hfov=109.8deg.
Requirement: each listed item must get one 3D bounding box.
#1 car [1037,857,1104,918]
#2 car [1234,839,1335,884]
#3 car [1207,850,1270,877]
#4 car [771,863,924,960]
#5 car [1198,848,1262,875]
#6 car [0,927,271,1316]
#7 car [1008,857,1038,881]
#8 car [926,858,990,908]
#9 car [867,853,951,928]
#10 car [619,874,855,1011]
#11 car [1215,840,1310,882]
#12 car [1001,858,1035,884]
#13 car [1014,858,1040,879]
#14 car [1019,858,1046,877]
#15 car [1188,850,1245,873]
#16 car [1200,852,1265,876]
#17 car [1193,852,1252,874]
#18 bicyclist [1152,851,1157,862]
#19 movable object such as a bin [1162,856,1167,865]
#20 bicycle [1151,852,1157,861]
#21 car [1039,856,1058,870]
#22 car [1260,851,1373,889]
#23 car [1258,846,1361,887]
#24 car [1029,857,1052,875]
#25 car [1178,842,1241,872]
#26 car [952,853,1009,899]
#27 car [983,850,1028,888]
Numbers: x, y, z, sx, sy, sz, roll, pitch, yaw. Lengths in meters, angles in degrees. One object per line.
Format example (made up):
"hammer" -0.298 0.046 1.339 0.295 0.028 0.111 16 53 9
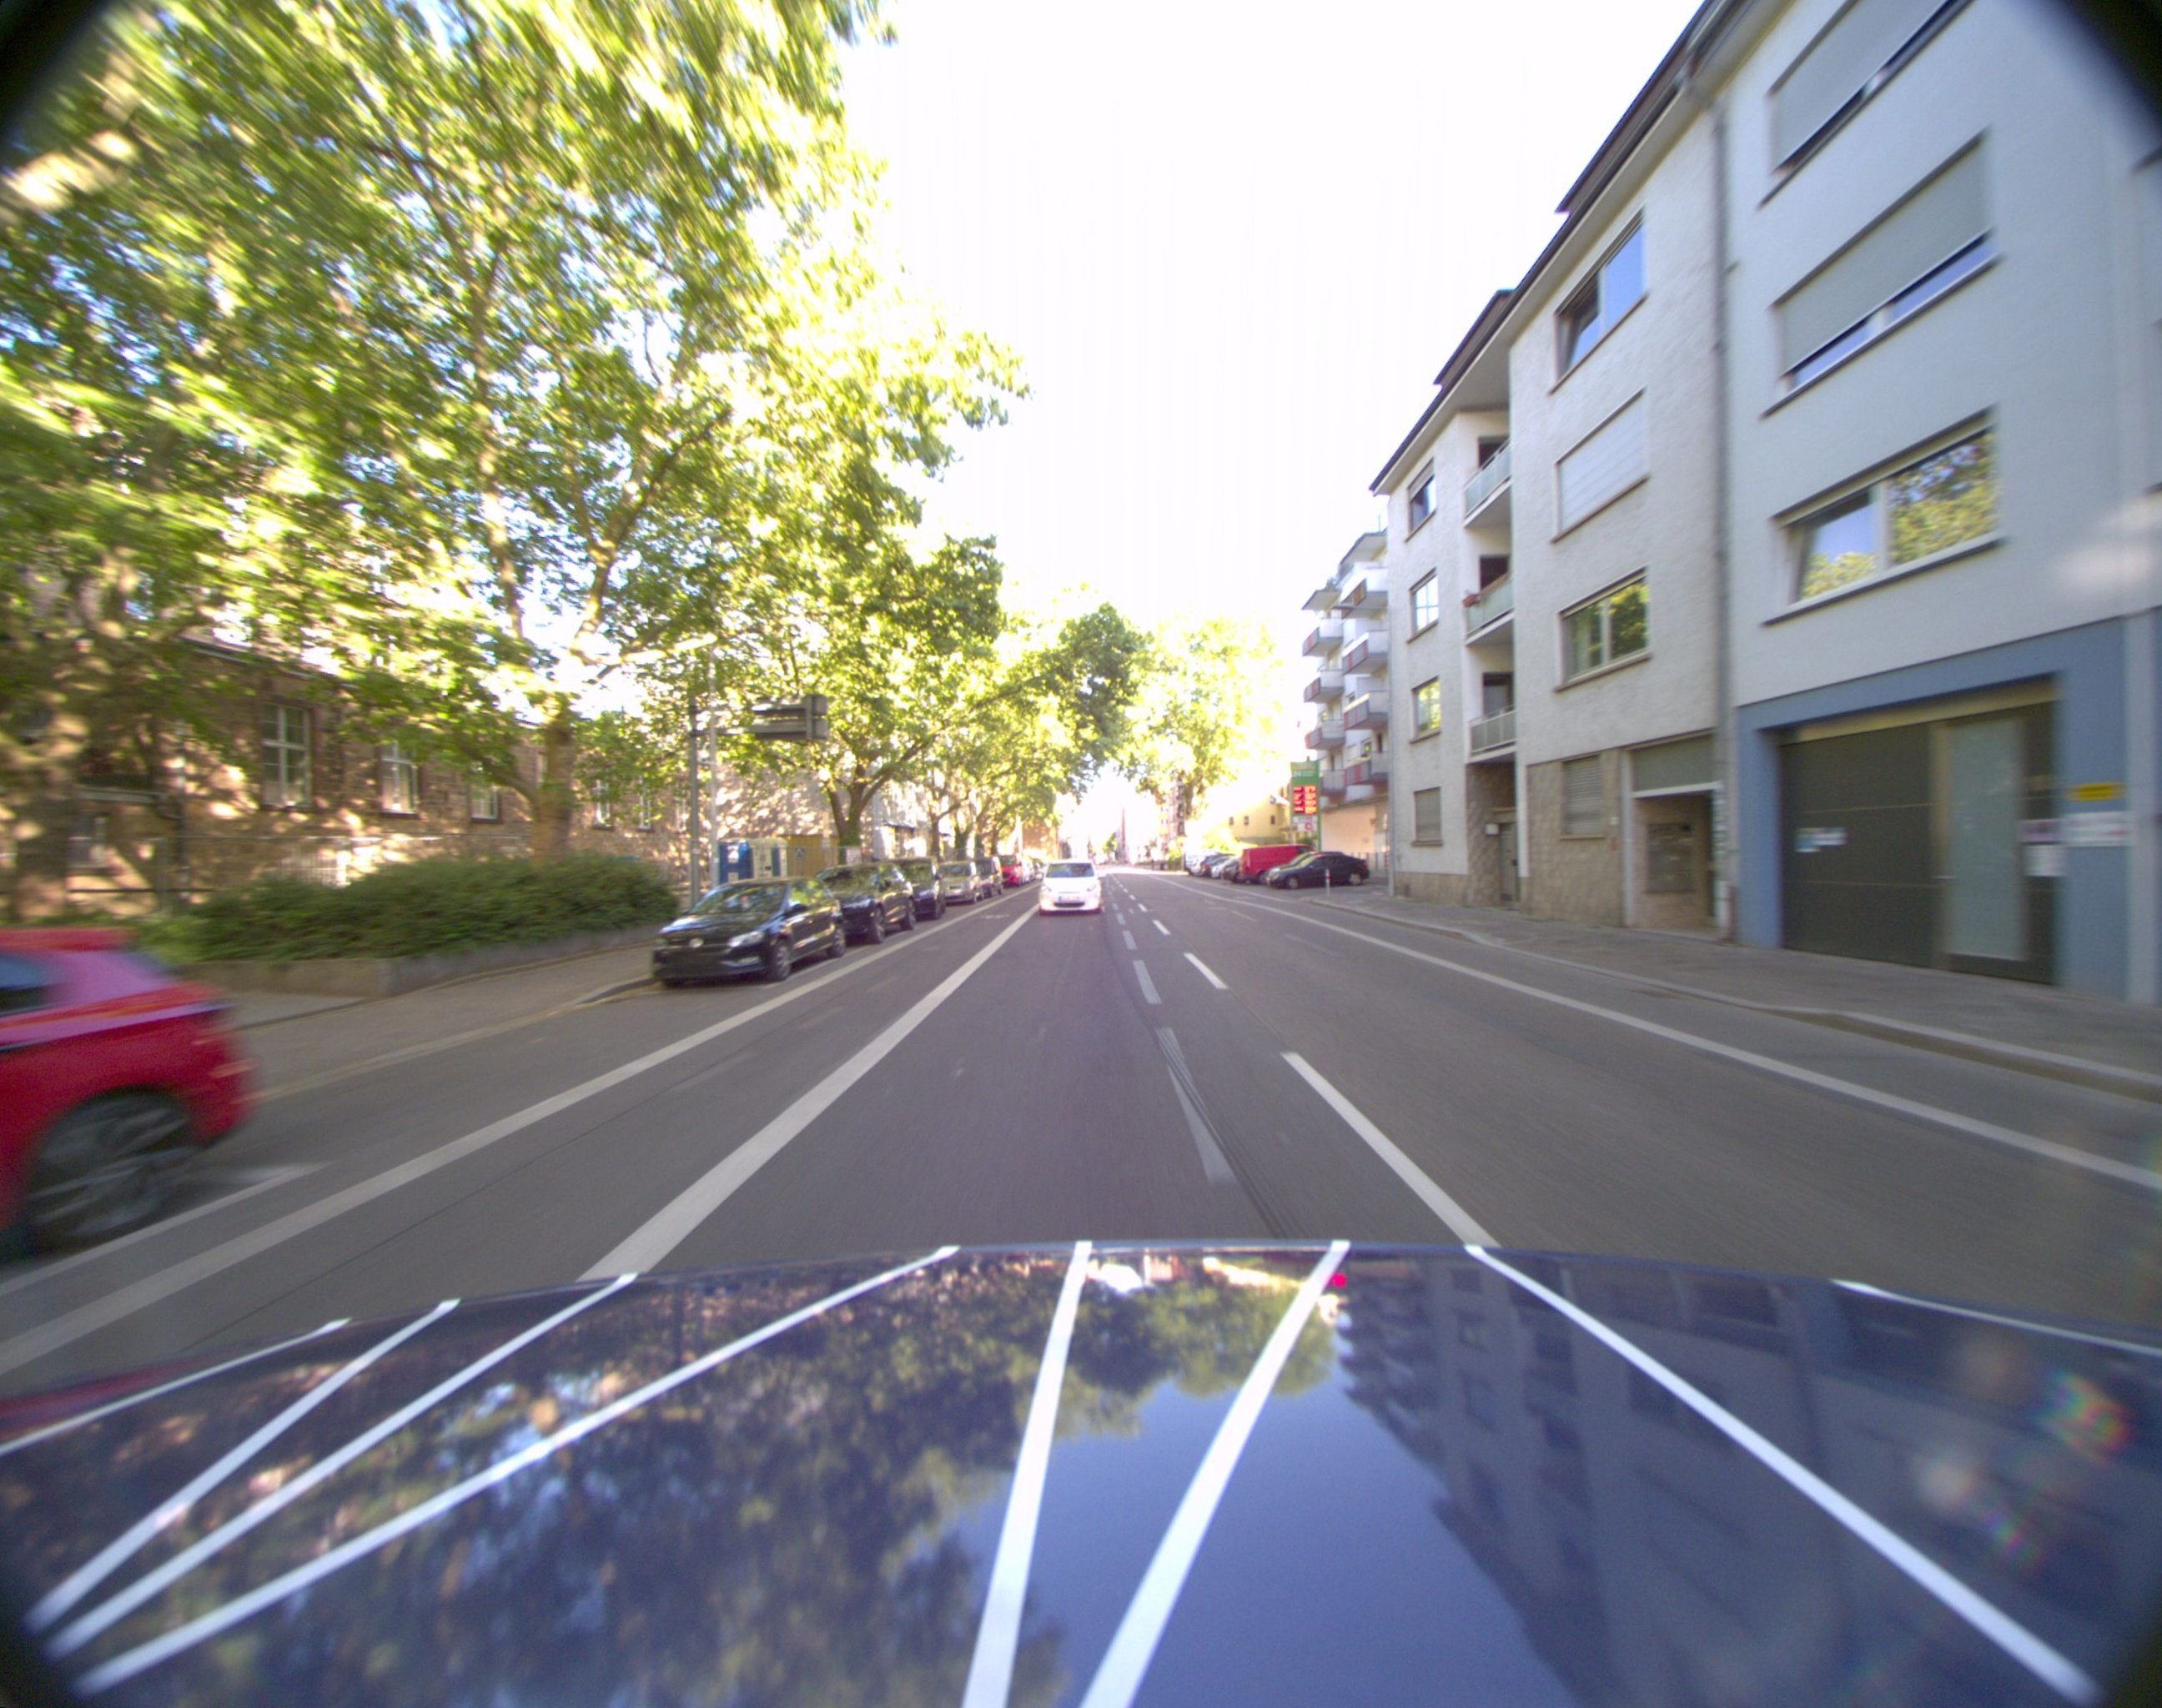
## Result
"car" -0.232 0.878 21.501 1.683 1.490 3.685 -2 1 1
"car" 10.209 0.362 38.385 4.432 1.940 2.146 -4 0 1
"car" 10.197 0.605 49.393 3.694 1.504 1.831 -4 0 1
"car" -4.782 1.084 16.323 1.780 1.618 4.620 -4 0 0
"car" 10.619 0.526 54.383 4.204 1.674 2.028 -3 0 1
"car" -5.255 1.178 1.893 1.697 1.470 4.318 -4 0 1
"car" -4.124 1.046 54.341 1.860 1.502 3.928 -4 0 -1
"car" -4.628 1.040 29.115 1.697 1.618 4.329 -4 0 -1
"car" -4.907 0.965 22.321 1.830 1.830 4.896 -4 0 -7
"car" -4.879 1.155 11.464 1.697 1.495 4.019 -4 0 -1
"car" 9.743 0.374 41.100 4.533 1.940 2.057 -4 0 1
"car" -4.084 1.076 49.720 1.641 1.476 3.760 -4 0 3
"car" -4.184 1.093 59.069 1.617 1.466 3.493 -4 0 0
"car" -4.071 1.113 64.683 1.860 1.513 4.599 -3 0 0
"car" 10.506 0.586 59.119 3.997 1.550 1.853 -3 0 1
"car" 10.269 0.668 51.581 3.997 1.447 1.916 -3 0 1
"car" 10.561 0.665 56.901 3.997 1.424 1.853 -3 0 1
"bicyclist" 9.617 0.345 99.923 0.608 1.535 0.934 0 0 1
"movable object such as a bin" 10.291 0.841 93.621 0.595 1.065 0.644 -1 1 1
"bicycle" 9.622 0.365 99.987 0.608 1.232 2.050 0 0 1
"car" -3.459 0.962 81.547 1.860 1.428 4.969 -2 0 -2
"car" 10.183 0.680 33.129 4.239 1.372 2.046 -3 1 1
"car" 10.562 0.555 35.374 4.183 1.554 1.886 -4 0 1
"car" -3.752 1.122 70.749 1.860 1.514 4.297 -3 0 0
"car" 10.715 0.231 63.613 4.856 2.204 2.140 -3 0 1
"car" -4.363 0.930 33.649 1.697 1.802 4.130 -4 0 3
"car" -4.406 0.840 44.992 2.083 1.982 5.171 -3 0 -1
